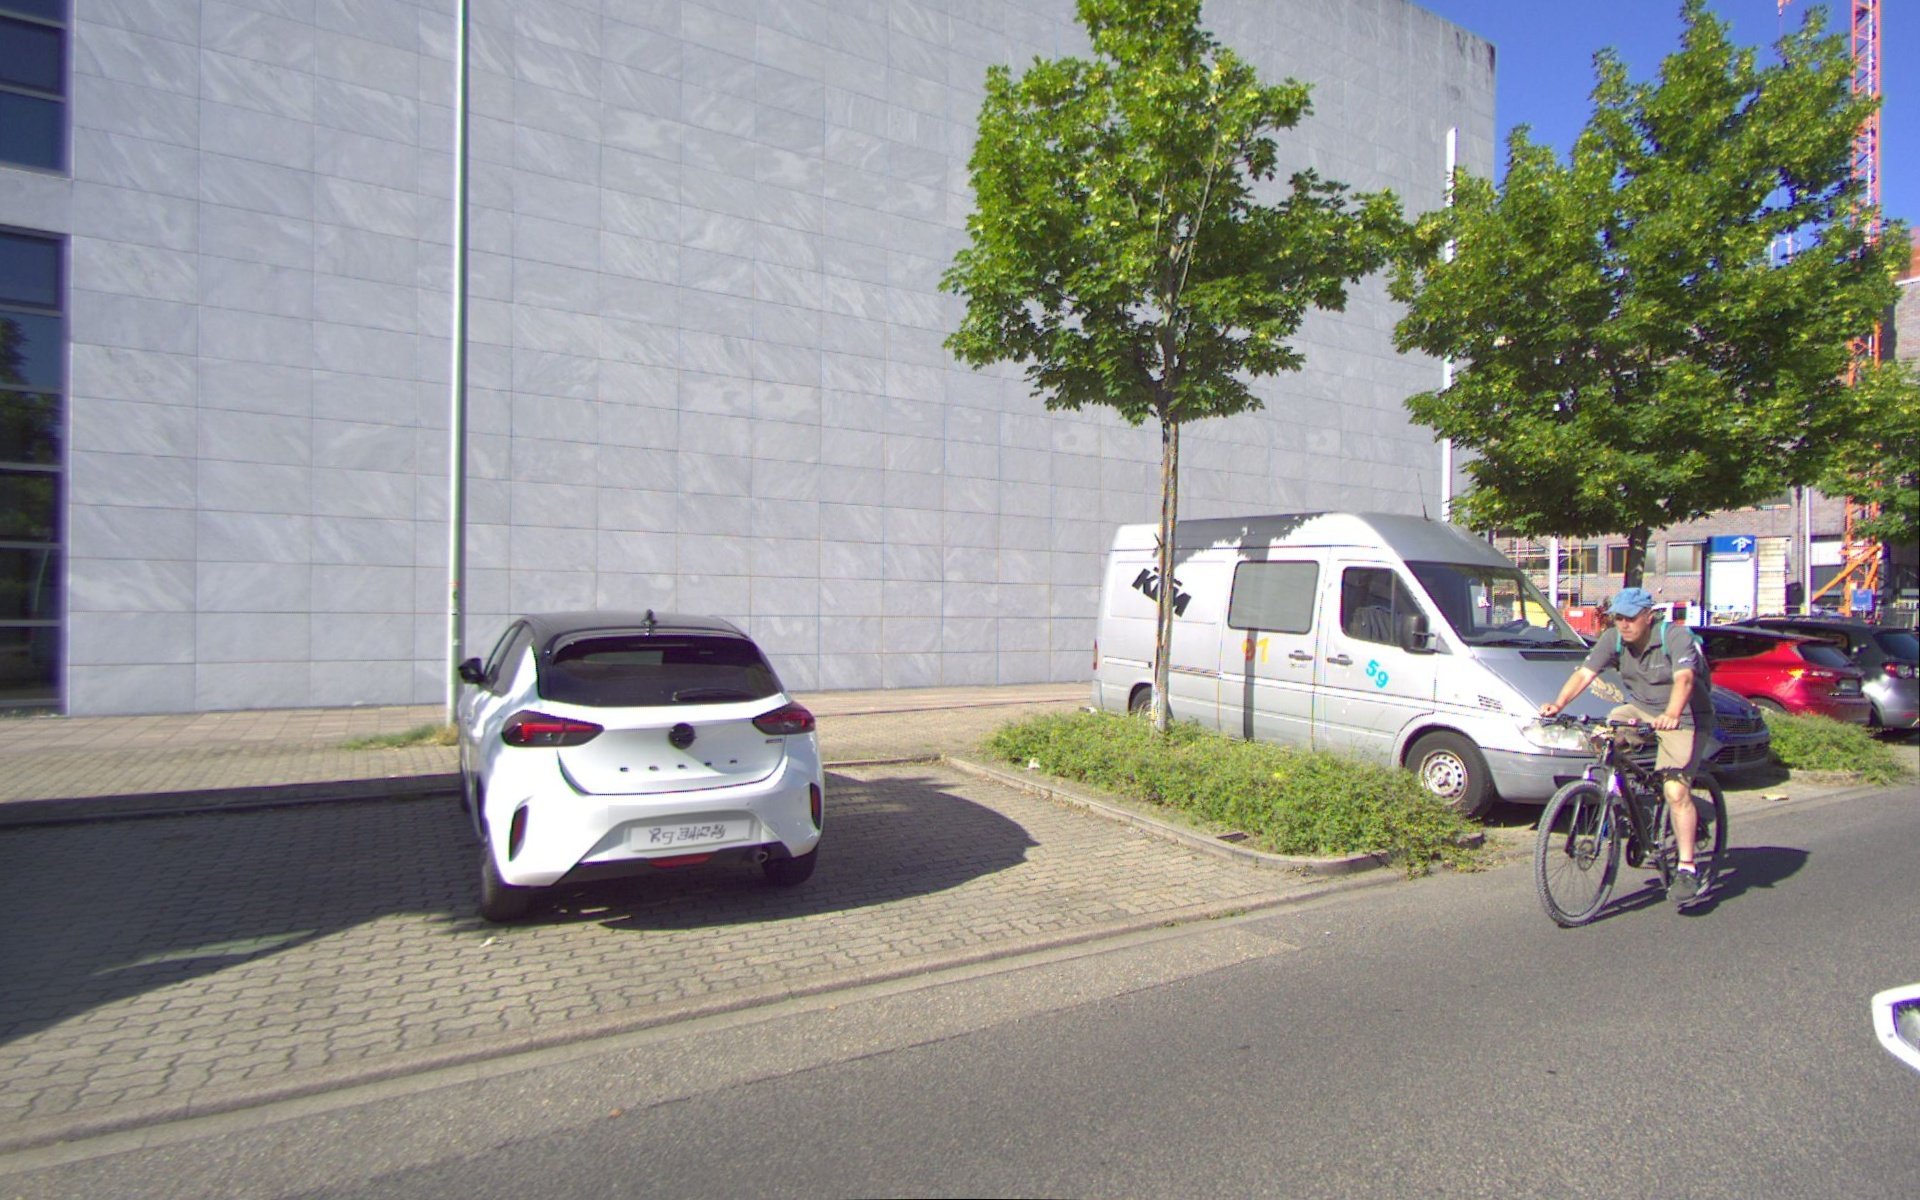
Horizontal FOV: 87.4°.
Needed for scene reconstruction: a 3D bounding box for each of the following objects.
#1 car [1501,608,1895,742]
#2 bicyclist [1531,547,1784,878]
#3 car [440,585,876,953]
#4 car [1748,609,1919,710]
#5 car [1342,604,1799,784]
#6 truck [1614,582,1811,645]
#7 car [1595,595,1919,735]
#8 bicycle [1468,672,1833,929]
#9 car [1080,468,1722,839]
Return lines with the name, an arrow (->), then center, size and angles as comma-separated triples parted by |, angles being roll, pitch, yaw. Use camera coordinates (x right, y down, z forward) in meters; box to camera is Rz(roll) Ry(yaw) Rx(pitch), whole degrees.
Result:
car -> 9.860, 0.898, 13.760 | 1.833, 1.537, 3.970 | 1, -1, -29
bicyclist -> 3.748, 0.560, 5.415 | 1.047, 1.601, 0.681 | 1, -2, -26
car -> -2.159, 0.692, 6.307 | 1.826, 1.492, 3.812 | 1, 1, -29
car -> 15.950, 0.982, 16.694 | 1.849, 1.512, 4.106 | 0, 2, -33
car -> 6.374, 0.850, 10.976 | 1.763, 1.505, 3.916 | 1, 0, -28
truck -> 33.612, 0.599, 45.187 | 2.252, 2.581, 6.830 | 0, -1, -28
car -> 11.953, 0.833, 14.830 | 1.804, 1.686, 3.972 | 1, 1, -27
bicycle -> 3.740, 0.980, 5.410 | 2.051, 1.125, 0.696 | 1, -2, -26
car -> 3.543, 0.308, 9.521 | 1.963, 2.442, 5.528 | 1, 1, -28
